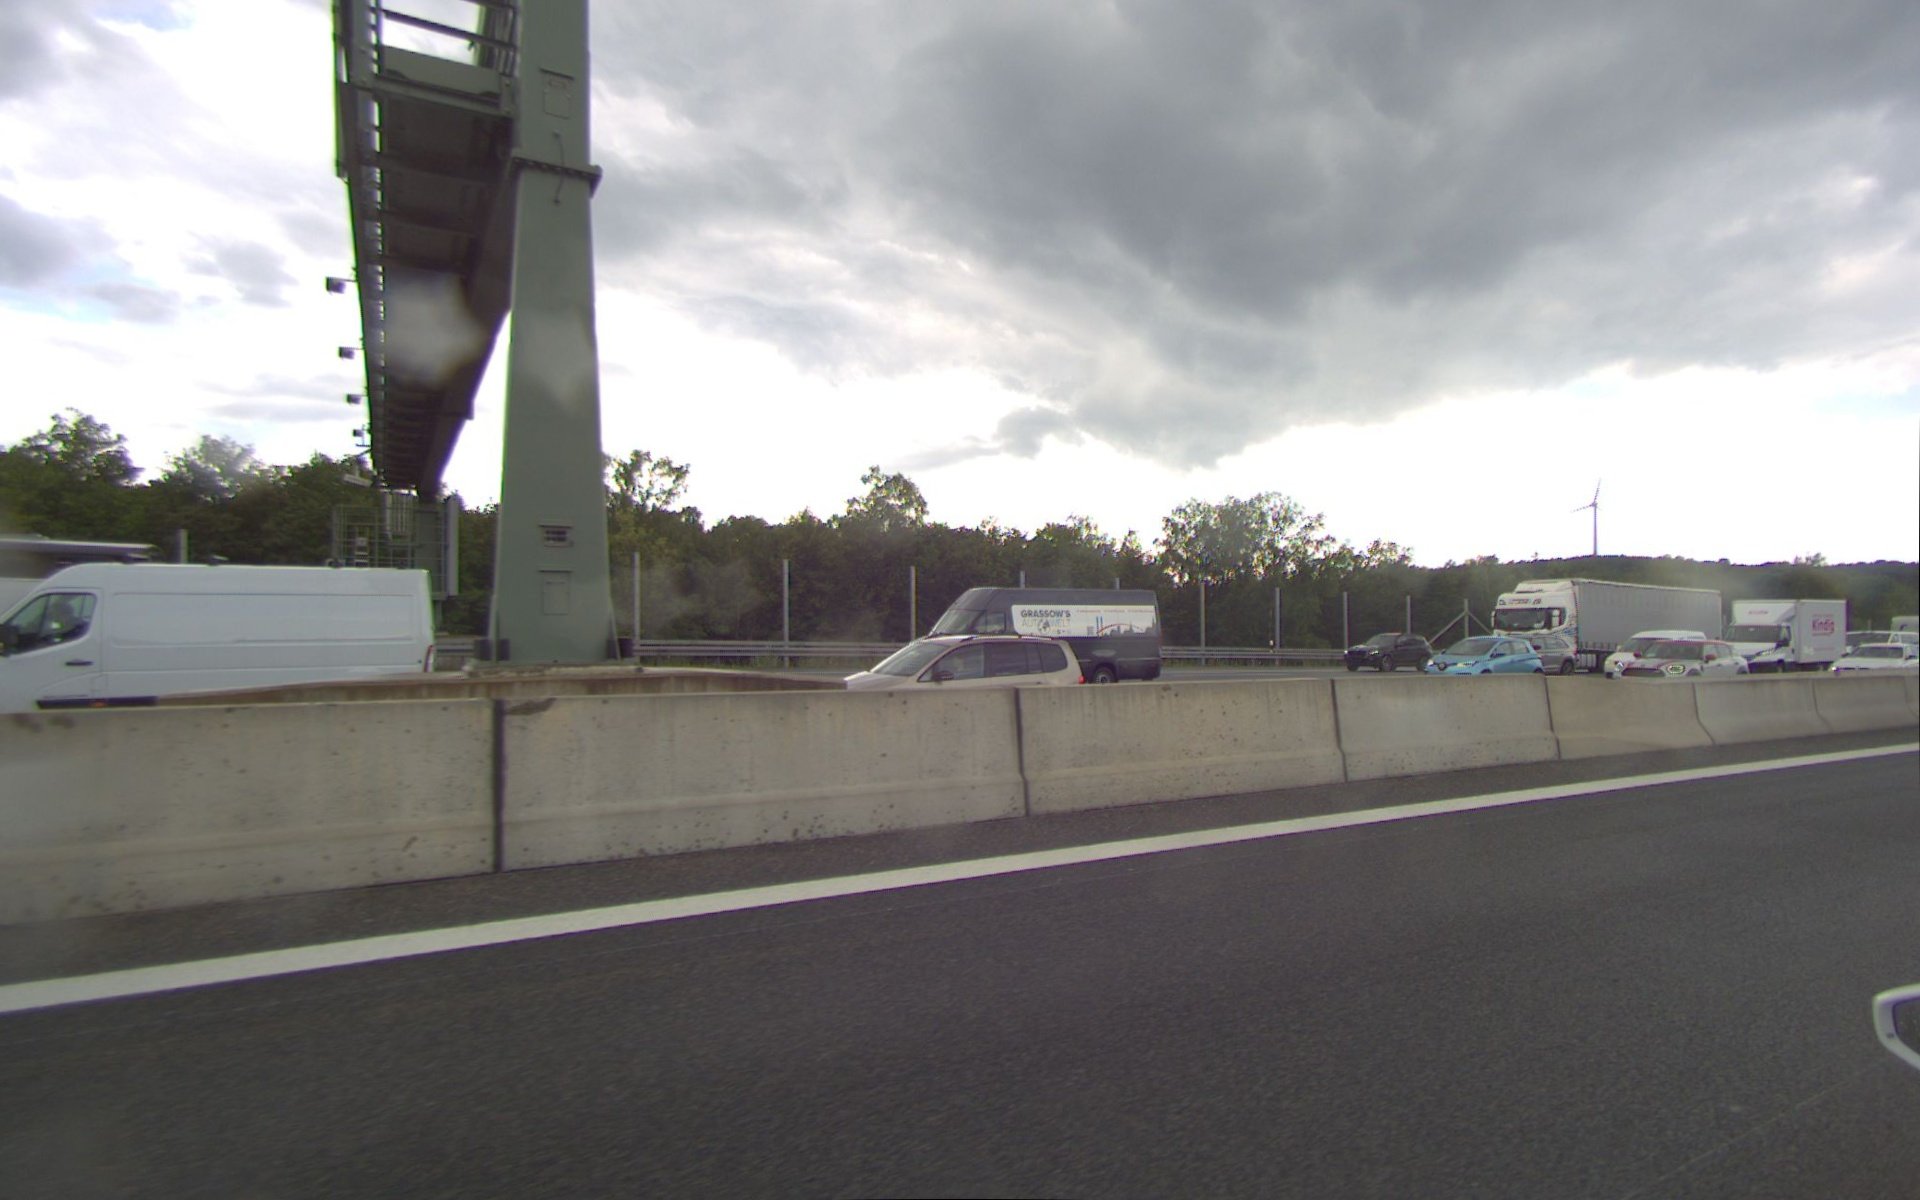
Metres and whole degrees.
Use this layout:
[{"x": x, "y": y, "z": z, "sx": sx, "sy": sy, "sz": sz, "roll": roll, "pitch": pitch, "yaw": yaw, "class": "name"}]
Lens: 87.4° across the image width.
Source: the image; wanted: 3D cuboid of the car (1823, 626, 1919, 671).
[{"x": 40.639, "y": 2.114, "z": 44.575, "sx": 5.598, "sy": 1.848, "sz": 1.849, "roll": 1, "pitch": 0, "yaw": -30, "class": "car"}]

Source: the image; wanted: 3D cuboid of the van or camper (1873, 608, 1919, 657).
[{"x": 45.769, "y": 1.542, "z": 47.799, "sx": 4.913, "sy": 2.215, "sz": 2.085, "roll": 1, "pitch": 0, "yaw": -30, "class": "van or camper"}]

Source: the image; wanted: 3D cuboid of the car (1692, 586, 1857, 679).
[{"x": 31.813, "y": 1.206, "z": 39.136, "sx": 7.537, "sy": 3.344, "sz": 2.486, "roll": 1, "pitch": 0, "yaw": -30, "class": "car"}]

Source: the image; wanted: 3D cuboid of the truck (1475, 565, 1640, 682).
[{"x": 27.379, "y": 1.051, "z": 45.935, "sx": 7.937, "sy": 4.921, "sz": 3.130, "roll": 1, "pitch": 0, "yaw": -32, "class": "truck"}]

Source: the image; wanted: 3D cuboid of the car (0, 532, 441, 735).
[{"x": -10.852, "y": 0.445, "z": 14.340, "sx": 5.996, "sy": 2.521, "sz": 2.192, "roll": 1, "pitch": -1, "yaw": -31, "class": "car"}]

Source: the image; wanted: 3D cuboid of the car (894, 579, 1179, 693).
[{"x": 2.067, "y": 0.896, "z": 25.480, "sx": 7.274, "sy": 2.580, "sz": 2.259, "roll": 1, "pitch": -1, "yaw": -31, "class": "car"}]

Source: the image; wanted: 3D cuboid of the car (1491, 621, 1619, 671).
[{"x": 21.756, "y": 1.638, "z": 36.647, "sx": 5.254, "sy": 1.689, "sz": 1.704, "roll": 1, "pitch": 0, "yaw": -30, "class": "car"}]

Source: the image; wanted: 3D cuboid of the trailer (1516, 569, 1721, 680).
[{"x": 32.452, "y": 1.163, "z": 49.143, "sx": 13.145, "sy": 4.921, "sz": 3.130, "roll": 1, "pitch": 0, "yaw": -32, "class": "trailer"}]

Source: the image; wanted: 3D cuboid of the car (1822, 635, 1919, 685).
[{"x": 31.141, "y": 1.984, "z": 33.880, "sx": 4.876, "sy": 1.513, "sz": 1.634, "roll": 1, "pitch": 0, "yaw": -30, "class": "car"}]

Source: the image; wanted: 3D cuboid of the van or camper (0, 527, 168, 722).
[{"x": -16.090, "y": 0.365, "z": 15.200, "sx": 6.145, "sy": 2.885, "sz": 2.569, "roll": 1, "pitch": -1, "yaw": -33, "class": "van or camper"}]

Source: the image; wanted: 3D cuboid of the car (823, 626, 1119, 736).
[{"x": 0.226, "y": 1.158, "z": 15.641, "sx": 4.343, "sy": 1.457, "sz": 1.749, "roll": 1, "pitch": 0, "yaw": -31, "class": "car"}]

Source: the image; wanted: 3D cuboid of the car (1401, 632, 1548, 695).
[{"x": 14.920, "y": 1.769, "z": 29.087, "sx": 4.230, "sy": 1.643, "sz": 1.793, "roll": 1, "pitch": 0, "yaw": -30, "class": "car"}]

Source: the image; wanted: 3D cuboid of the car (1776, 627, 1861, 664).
[{"x": 42.535, "y": 2.236, "z": 49.770, "sx": 3.952, "sy": 1.731, "sz": 1.984, "roll": 2, "pitch": 0, "yaw": -30, "class": "car"}]

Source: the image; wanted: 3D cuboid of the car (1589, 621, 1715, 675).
[{"x": 23.649, "y": 1.597, "z": 34.273, "sx": 4.739, "sy": 1.689, "sz": 1.704, "roll": 1, "pitch": 0, "yaw": -30, "class": "car"}]

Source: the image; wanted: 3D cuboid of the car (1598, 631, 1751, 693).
[{"x": 19.274, "y": 1.610, "z": 27.052, "sx": 4.342, "sy": 1.518, "sz": 1.750, "roll": 1, "pitch": 0, "yaw": -30, "class": "car"}]
